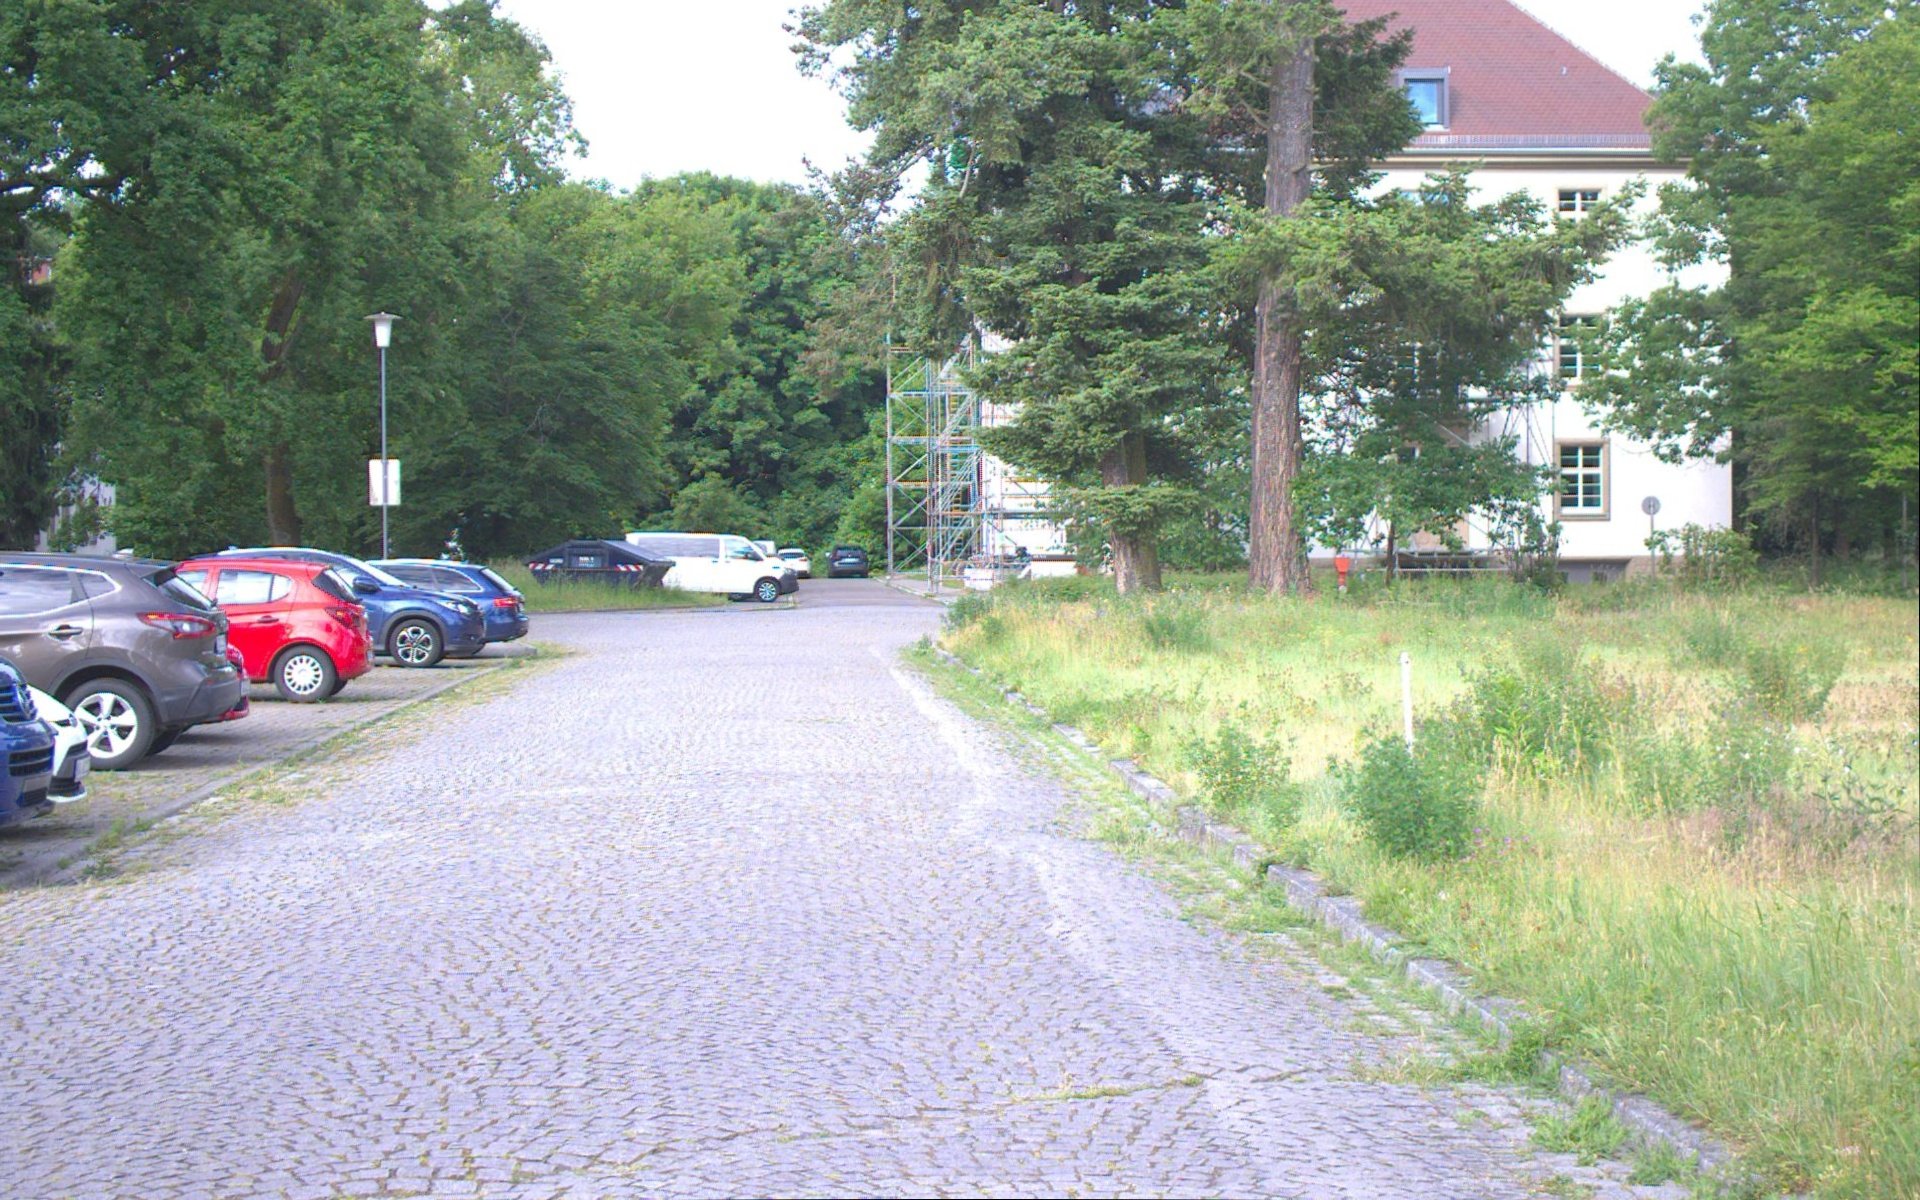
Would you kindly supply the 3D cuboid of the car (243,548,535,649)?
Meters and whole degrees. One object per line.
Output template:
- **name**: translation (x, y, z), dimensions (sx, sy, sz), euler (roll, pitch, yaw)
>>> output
- **car**: translation (-8.457, -0.035, 51.116), dimensions (4.071, 1.462, 1.626), euler (0, 1, 1)

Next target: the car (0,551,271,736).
- **car**: translation (-7.795, 0.338, 28.648), dimensions (3.815, 1.481, 1.762), euler (0, 1, -3)

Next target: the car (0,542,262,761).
- **car**: translation (-7.443, 0.359, 25.873), dimensions (4.067, 1.570, 1.955), euler (0, 1, -4)

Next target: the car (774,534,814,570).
- **car**: translation (-8.035, -2.300, 166.260), dimensions (1.790, 1.630, 4.061), euler (-1, 0, -4)

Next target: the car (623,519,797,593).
- **car**: translation (-7.286, -1.283, 100.180), dimensions (4.977, 2.065, 2.052), euler (1, -1, -4)

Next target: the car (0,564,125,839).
- **car**: translation (-6.823, 0.549, 19.607), dimensions (3.793, 1.488, 1.726), euler (0, 1, -5)

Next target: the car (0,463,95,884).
- **car**: translation (-6.861, 0.319, 17.015), dimensions (4.709, 1.974, 2.038), euler (0, 1, -3)

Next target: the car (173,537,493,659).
- **car**: translation (-8.417, -0.035, 46.415), dimensions (4.071, 1.598, 1.788), euler (0, 1, -4)

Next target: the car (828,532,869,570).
- **car**: translation (-5.430, -2.367, 166.695), dimensions (1.790, 1.714, 4.061), euler (-1, 0, -4)

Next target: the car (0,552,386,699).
- **car**: translation (-8.054, 0.249, 36.172), dimensions (3.815, 1.484, 1.788), euler (0, 1, -4)
